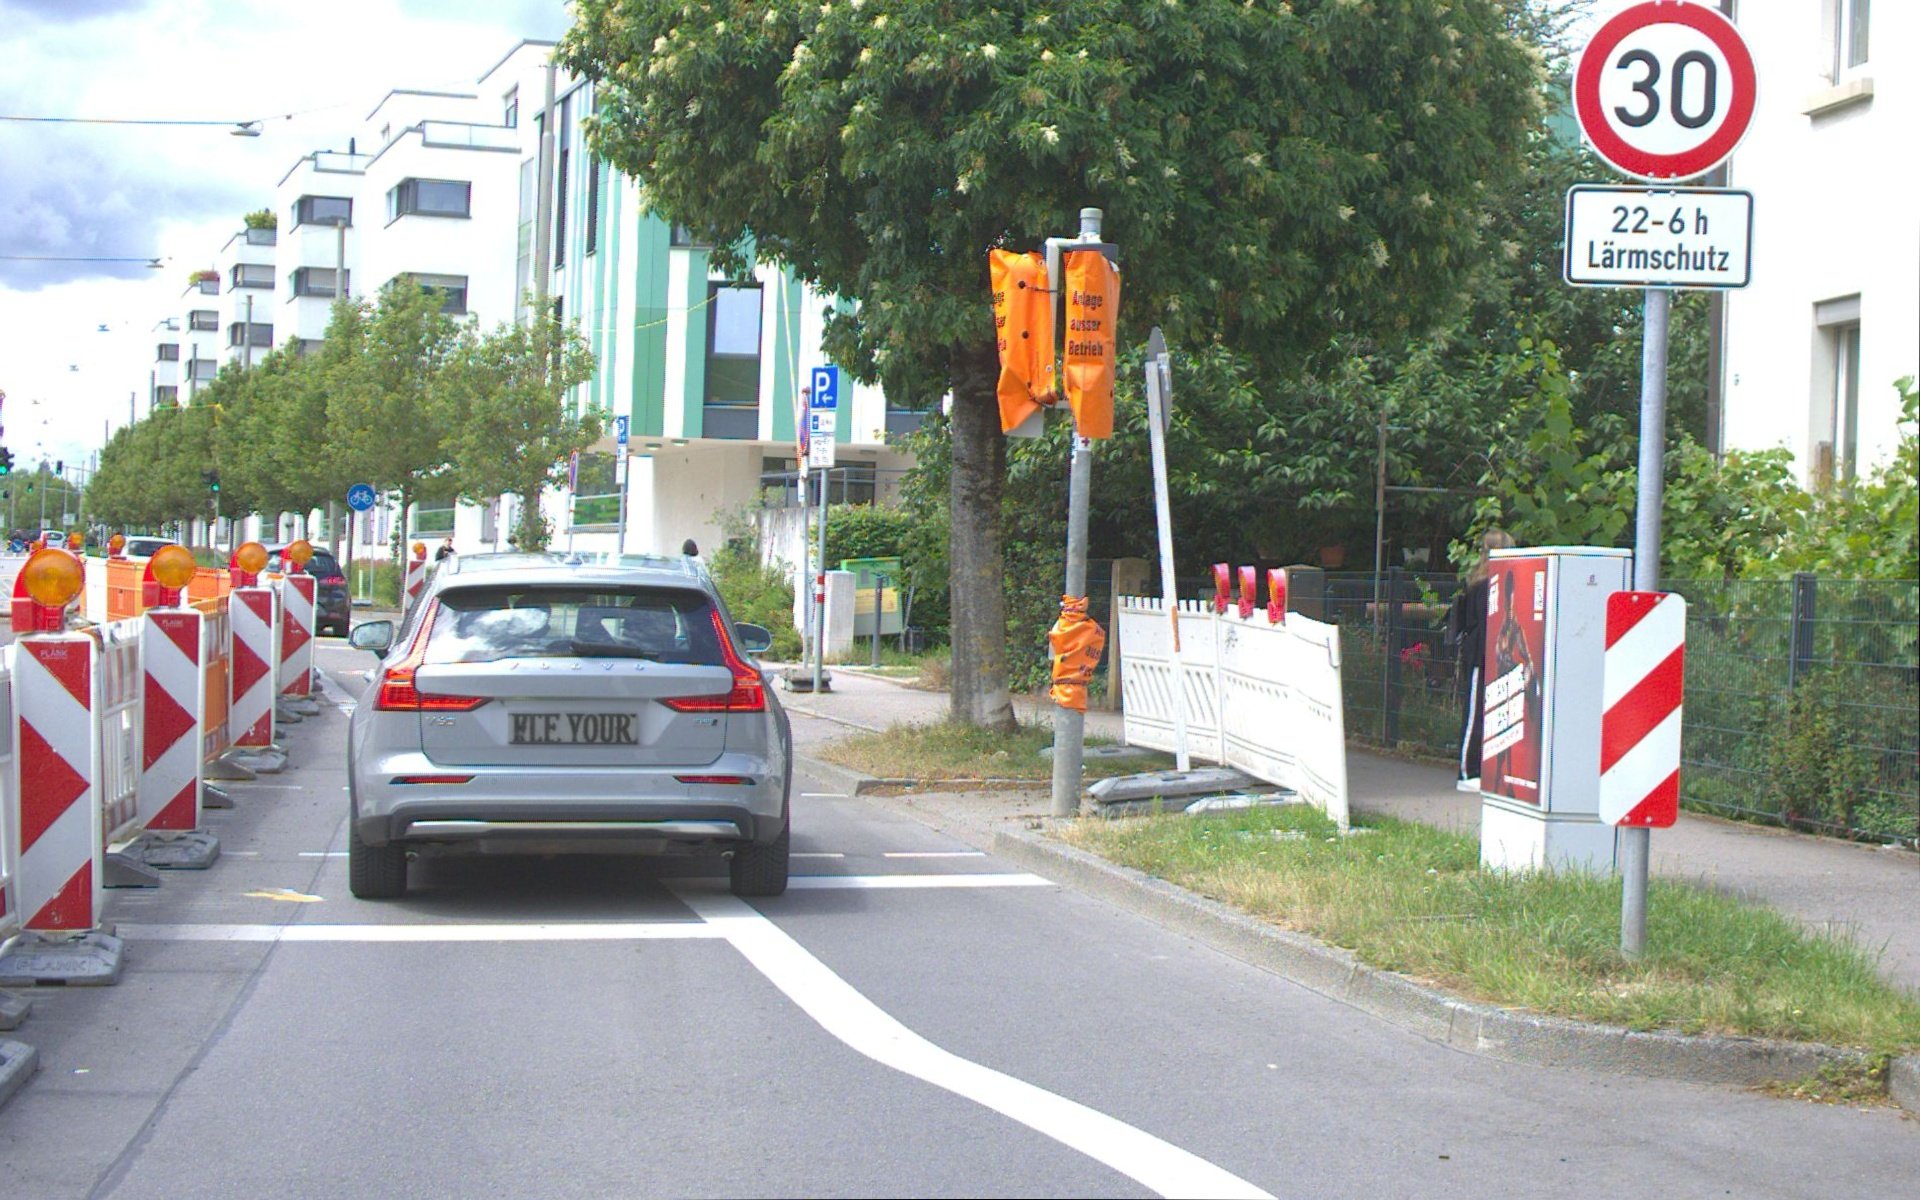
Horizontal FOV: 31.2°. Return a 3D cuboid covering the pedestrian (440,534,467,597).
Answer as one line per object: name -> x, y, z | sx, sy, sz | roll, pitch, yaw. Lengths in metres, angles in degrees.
pedestrian -> -13.414, -0.917, 91.050 | 0.605, 1.649, 0.552 | 1, 1, -17

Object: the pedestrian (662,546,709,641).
pedestrian -> -4.546, -0.120, 56.945 | 0.580, 1.546, 0.869 | 1, 1, -16

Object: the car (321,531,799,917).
car -> -1.898, 0.461, 15.588 | 1.854, 1.508, 4.001 | 1, 1, -9

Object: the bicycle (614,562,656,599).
bicycle -> -7.538, -0.441, 79.754 | 0.307, 0.839, 1.022 | 2, 1, 41

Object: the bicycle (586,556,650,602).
bicycle -> -8.024, -0.489, 80.737 | 1.464, 1.042, 0.307 | 1, 1, -28

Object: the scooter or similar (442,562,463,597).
scooter or similar -> -13.350, -0.528, 90.482 | 0.421, 0.902, 0.682 | 1, 1, -17

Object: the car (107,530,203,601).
car -> -18.819, -0.827, 80.265 | 1.844, 1.508, 4.001 | 3, 0, -17

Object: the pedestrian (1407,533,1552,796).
pedestrian -> 3.102, 0.378, 20.543 | 0.634, 1.534, 0.522 | 1, 1, -29

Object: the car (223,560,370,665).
car -> -10.813, 0.173, 55.881 | 1.854, 1.508, 4.001 | 3, 0, -17
